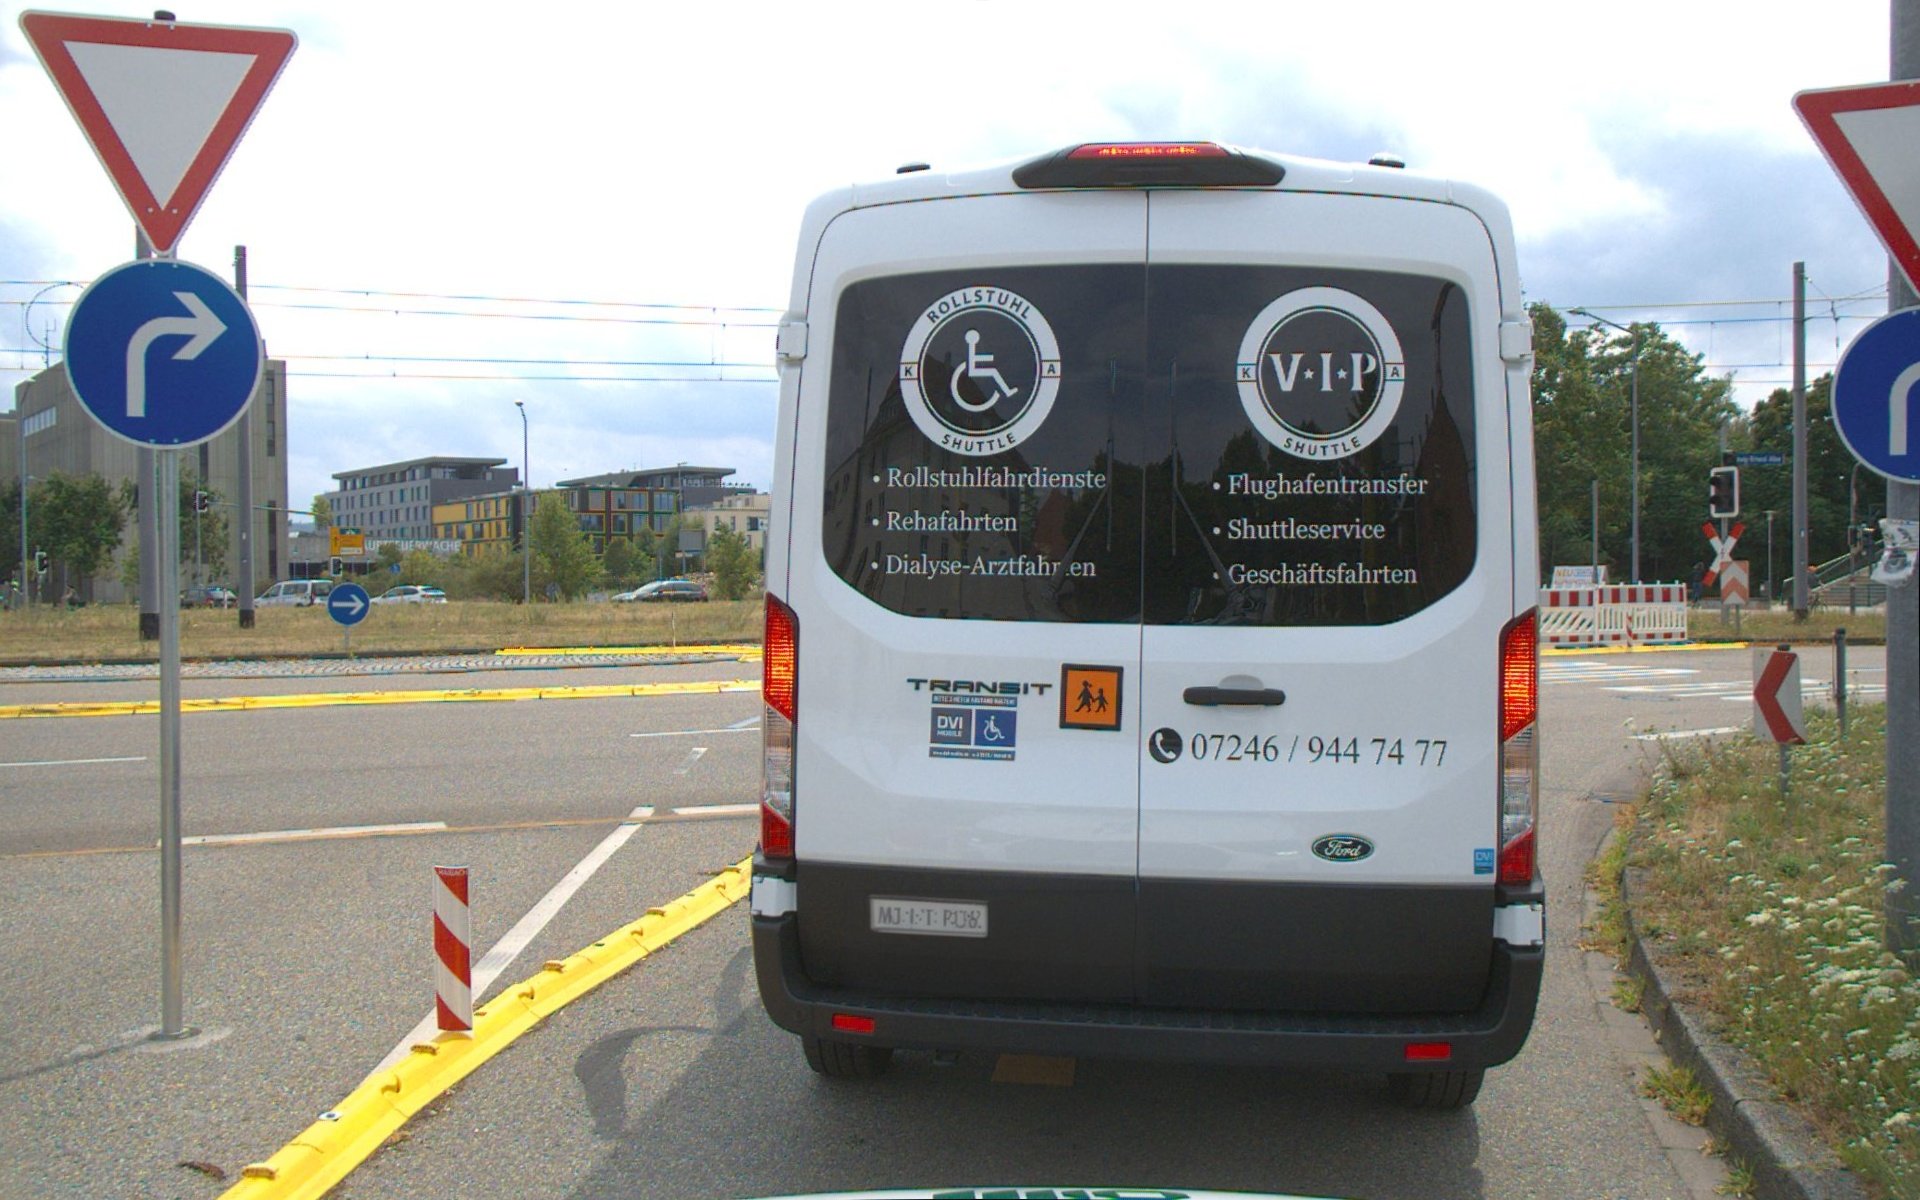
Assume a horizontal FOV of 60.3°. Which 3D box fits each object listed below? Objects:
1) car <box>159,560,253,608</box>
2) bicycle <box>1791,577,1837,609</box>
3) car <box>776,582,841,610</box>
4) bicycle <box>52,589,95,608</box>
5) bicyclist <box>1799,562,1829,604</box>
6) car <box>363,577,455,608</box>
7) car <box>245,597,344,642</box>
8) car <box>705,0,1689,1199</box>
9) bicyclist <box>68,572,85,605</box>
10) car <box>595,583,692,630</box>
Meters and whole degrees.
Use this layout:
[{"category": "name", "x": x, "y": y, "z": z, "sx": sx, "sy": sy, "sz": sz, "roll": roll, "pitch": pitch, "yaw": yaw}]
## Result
[{"category": "car", "x": -33.370, "y": -0.694, "z": 73.183, "sx": 3.917, "sy": 2.049, "sz": 1.994, "roll": 0, "pitch": -1, "yaw": 34}, {"category": "bicycle", "x": 27.845, "y": -0.231, "z": 53.948, "sx": 0.638, "sy": 1.024, "sz": 1.757, "roll": 0, "pitch": 1, "yaw": 2}, {"category": "car", "x": -8.151, "y": -0.206, "z": 89.147, "sx": 1.790, "sy": 1.489, "sz": 3.998, "roll": 0, "pitch": 0, "yaw": 23}, {"category": "bicycle", "x": -43.533, "y": -0.059, "z": 81.218, "sx": 1.803, "sy": 0.892, "sz": 0.527, "roll": -1, "pitch": 1, "yaw": -22}, {"category": "bicyclist", "x": 27.841, "y": -0.559, "z": 53.926, "sx": 0.625, "sy": 1.340, "sz": 0.675, "roll": 0, "pitch": 1, "yaw": 2}, {"category": "car", "x": -26.655, "y": -0.366, "z": 80.033, "sx": 3.904, "sy": 1.489, "sz": 1.833, "roll": 0, "pitch": -1, "yaw": 21}, {"category": "car", "x": -31.239, "y": 0.894, "z": 77.613, "sx": 4.263, "sy": 2.049, "sz": 1.998, "roll": 0, "pitch": -1, "yaw": 27}, {"category": "car", "x": 0.755, "y": 0.025, "z": 6.366, "sx": 2.081, "sy": 2.744, "sz": 5.636, "roll": 0, "pitch": 1, "yaw": 5}, {"category": "bicyclist", "x": -43.437, "y": -0.565, "z": 81.283, "sx": 0.639, "sy": 1.585, "sz": 0.527, "roll": -1, "pitch": 1, "yaw": -21}, {"category": "car", "x": -14.167, "y": 0.299, "z": 74.046, "sx": 3.938, "sy": 2.049, "sz": 1.983, "roll": 1, "pitch": -1, "yaw": -26}]
